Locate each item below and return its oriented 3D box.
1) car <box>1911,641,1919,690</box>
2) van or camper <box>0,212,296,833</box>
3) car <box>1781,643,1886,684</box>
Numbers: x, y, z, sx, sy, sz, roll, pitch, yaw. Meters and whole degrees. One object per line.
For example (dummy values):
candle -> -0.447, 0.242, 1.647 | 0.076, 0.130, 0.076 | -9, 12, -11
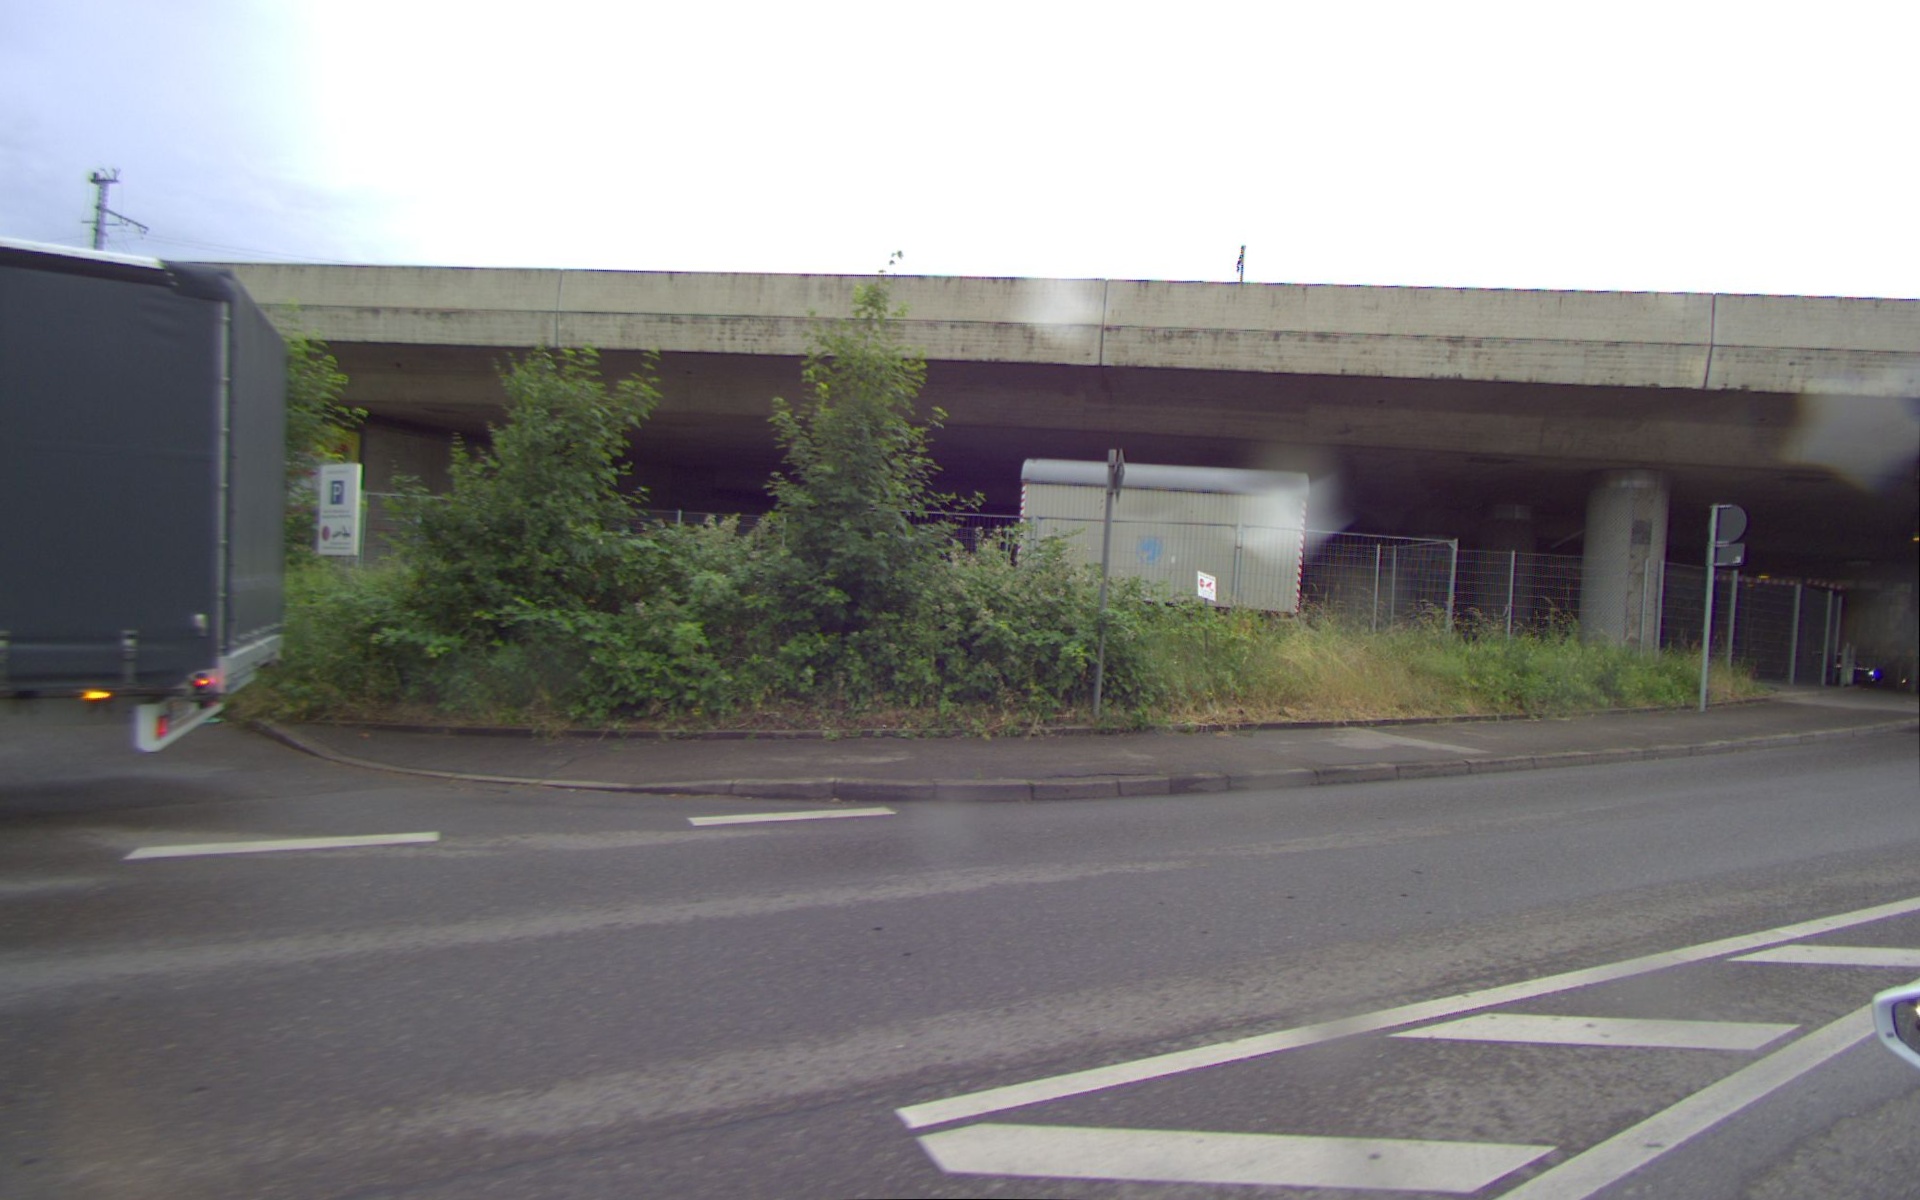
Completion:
car -> 31.198, 2.148, 30.720 | 1.964, 1.550, 4.492 | 3, 1, 29
van or camper -> -8.306, -0.530, 5.321 | 7.666, 3.379, 2.687 | 2, 0, -29
car -> 35.730, 2.577, 41.220 | 1.961, 1.484, 4.105 | 3, -2, 22
